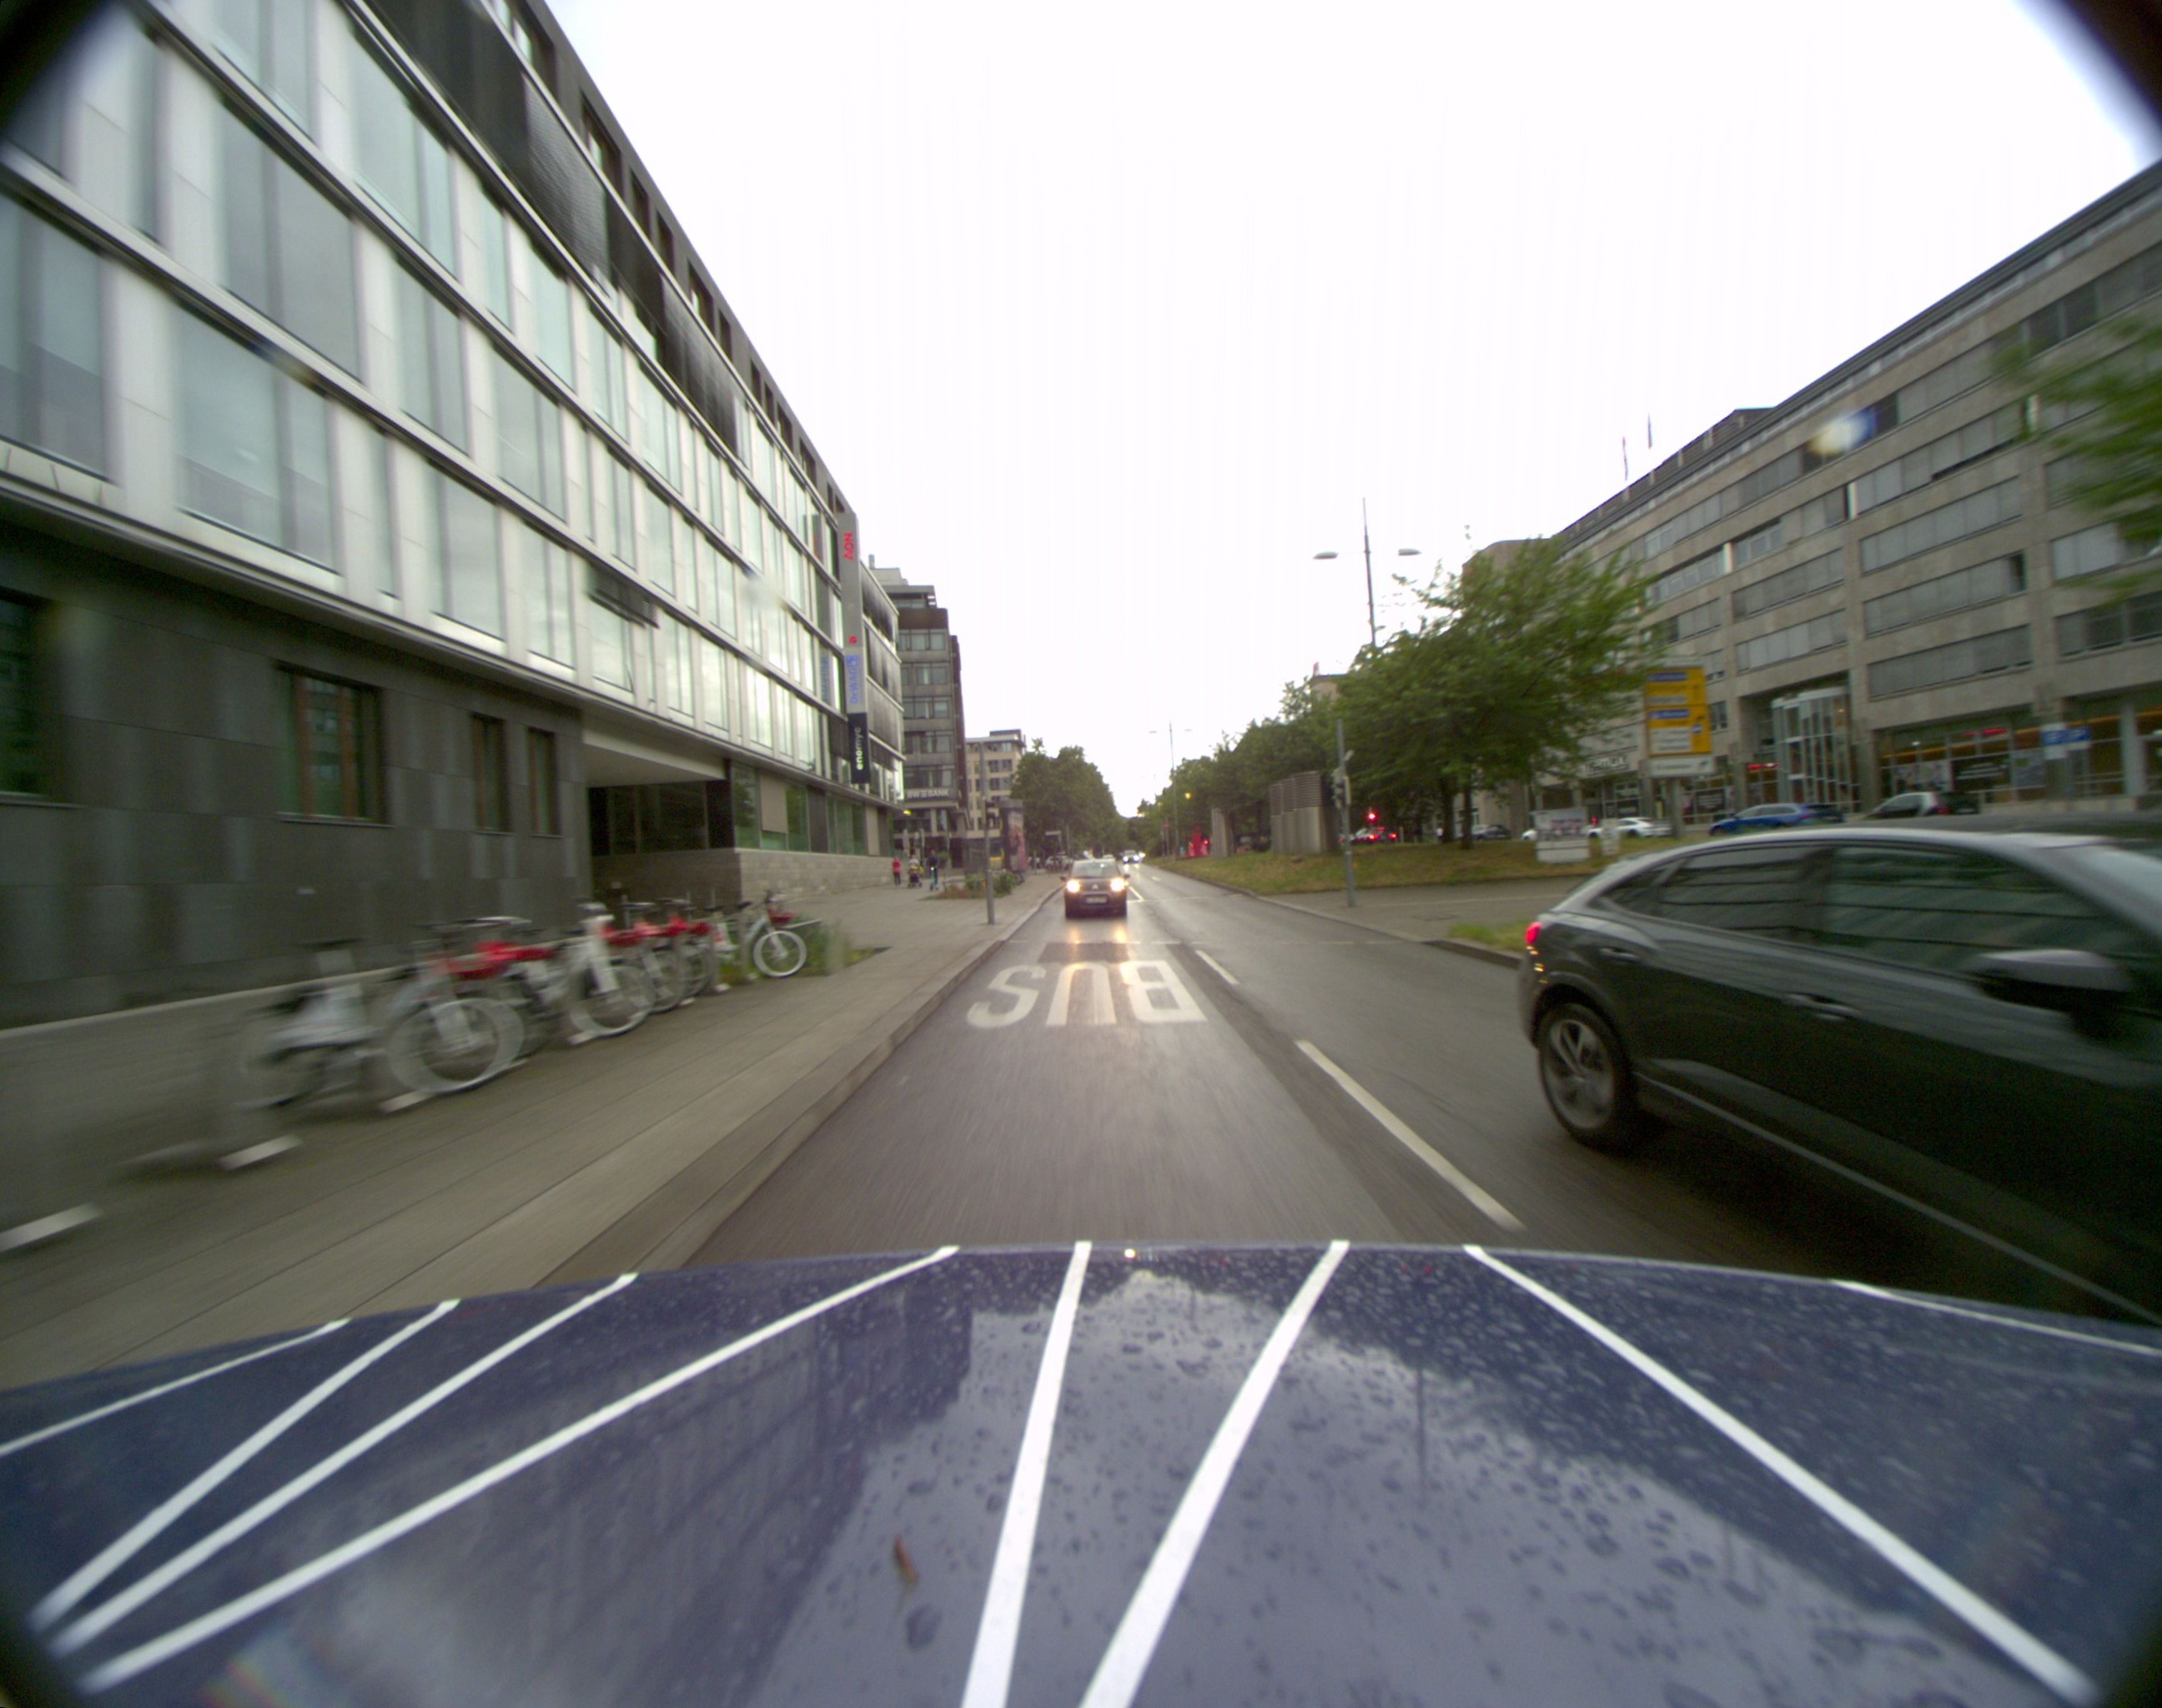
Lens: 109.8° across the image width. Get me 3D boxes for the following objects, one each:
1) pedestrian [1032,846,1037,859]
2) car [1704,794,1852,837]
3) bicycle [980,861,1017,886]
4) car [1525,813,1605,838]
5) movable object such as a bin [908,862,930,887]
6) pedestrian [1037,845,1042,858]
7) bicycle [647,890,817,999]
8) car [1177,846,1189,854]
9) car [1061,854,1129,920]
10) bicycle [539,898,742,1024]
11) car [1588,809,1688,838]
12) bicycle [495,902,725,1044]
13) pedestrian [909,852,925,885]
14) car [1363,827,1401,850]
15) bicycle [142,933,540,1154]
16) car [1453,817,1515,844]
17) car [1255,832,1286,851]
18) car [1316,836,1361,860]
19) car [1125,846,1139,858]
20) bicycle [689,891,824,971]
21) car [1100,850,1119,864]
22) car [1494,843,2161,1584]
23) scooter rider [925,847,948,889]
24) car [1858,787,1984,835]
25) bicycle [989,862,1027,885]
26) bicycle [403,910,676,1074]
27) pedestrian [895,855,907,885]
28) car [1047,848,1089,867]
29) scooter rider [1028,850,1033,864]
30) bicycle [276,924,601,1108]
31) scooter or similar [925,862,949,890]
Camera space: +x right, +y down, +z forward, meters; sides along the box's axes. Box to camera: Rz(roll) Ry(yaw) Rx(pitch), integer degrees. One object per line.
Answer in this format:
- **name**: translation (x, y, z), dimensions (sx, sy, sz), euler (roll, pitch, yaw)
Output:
- **pedestrian**: translation (-6.291, -0.254, 102.340), dimensions (0.551, 1.692, 0.547), euler (-3, 2, 1)
- **car**: translation (27.661, -1.476, 30.357), dimensions (1.680, 1.377, 4.319), euler (-5, 1, -4)
- **bicycle**: translation (-4.133, 0.971, 38.271), dimensions (1.797, 1.200, 0.669), euler (-2, 1, -6)
- **car**: translation (26.851, -1.528, 42.320), dimensions (1.575, 1.116, 4.106), euler (-5, 1, -4)
- **movable object such as a bin**: translation (-8.976, 1.127, 42.214), dimensions (0.804, 1.258, 1.787), euler (-2, 1, -1)
- **pedestrian**: translation (-5.568, -0.287, 102.144), dimensions (0.452, 1.692, 0.497), euler (-3, 2, 2)
- **bicycle**: translation (-4.298, 1.097, 9.456), dimensions (1.735, 1.176, 0.689), euler (-3, 1, -6)
- **car**: translation (22.987, -0.840, 170.676), dimensions (2.072, 1.578, 4.107), euler (-5, 1, 1)
- **car**: translation (0.405, 0.828, 20.674), dimensions (1.594, 1.501, 3.709), euler (-4, 1, 2)
- **bicycle**: translation (-4.743, 1.127, 8.283), dimensions (1.735, 1.176, 0.689), euler (-3, 1, -6)
- **car**: translation (26.950, -1.436, 36.920), dimensions (1.575, 1.116, 4.106), euler (-5, 1, -4)
- **bicycle**: translation (-4.556, 1.131, 7.462), dimensions (1.735, 1.176, 0.689), euler (-3, 1, -6)
- **pedestrian**: translation (-9.365, 0.831, 43.468), dimensions (0.723, 1.820, 0.746), euler (-2, 1, -2)
- **car**: translation (20.097, -1.049, 50.809), dimensions (1.411, 1.377, 2.627), euler (-5, 1, 0)
- **bicycle**: translation (-4.662, 1.162, 4.903), dimensions (1.735, 1.133, 0.689), euler (-3, 1, -6)
- **car**: translation (26.531, -1.502, 50.170), dimensions (1.575, 1.571, 4.106), euler (-5, 1, -4)
- **car**: translation (18.096, -1.191, 72.783), dimensions (1.880, 1.571, 4.107), euler (-5, 1, 1)
- **car**: translation (19.483, -0.449, 57.637), dimensions (1.880, 1.571, 4.107), euler (-5, 1, 1)
- **car**: translation (6.858, -0.306, 102.742), dimensions (1.605, 1.377, 3.019), euler (-5, 1, 0)
- **bicycle**: translation (-4.960, 1.168, 11.719), dimensions (1.735, 1.064, 0.689), euler (-3, 1, -6)
- **car**: translation (3.614, 0.322, 96.997), dimensions (2.072, 1.578, 4.107), euler (-5, 1, 1)
- **car**: translation (3.264, 0.778, 2.149), dimensions (1.865, 1.509, 4.345), euler (-4, 1, 2)
- **scooter rider**: translation (-7.052, 0.680, 37.168), dimensions (0.779, 2.009, 0.924), euler (-3, 1, 4)
- **car**: translation (27.925, -1.402, 25.356), dimensions (1.243, 1.377, 2.627), euler (-5, 1, 0)
- **bicycle**: translation (-3.863, 1.014, 40.141), dimensions (1.876, 1.104, 0.669), euler (-2, 1, 1)
- **bicycle**: translation (-4.567, 1.136, 6.515), dimensions (1.735, 1.176, 0.689), euler (-3, 1, -6)
- **pedestrian**: translation (-10.291, 0.924, 43.409), dimensions (0.485, 1.689, 0.579), euler (-2, 1, -2)
- **car**: translation (-1.513, 0.397, 85.785), dimensions (4.202, 1.802, 2.003), euler (-5, 1, 35)
- **scooter rider**: translation (-7.742, 0.451, 117.331), dimensions (0.627, 2.013, 0.854), euler (-3, 1, -2)
- **bicycle**: translation (-4.758, 1.170, 5.739), dimensions (1.735, 1.133, 0.689), euler (-3, 1, -6)
- **scooter or similar**: translation (-7.027, 1.068, 37.191), dimensions (0.779, 1.298, 1.335), euler (-3, 1, 4)
